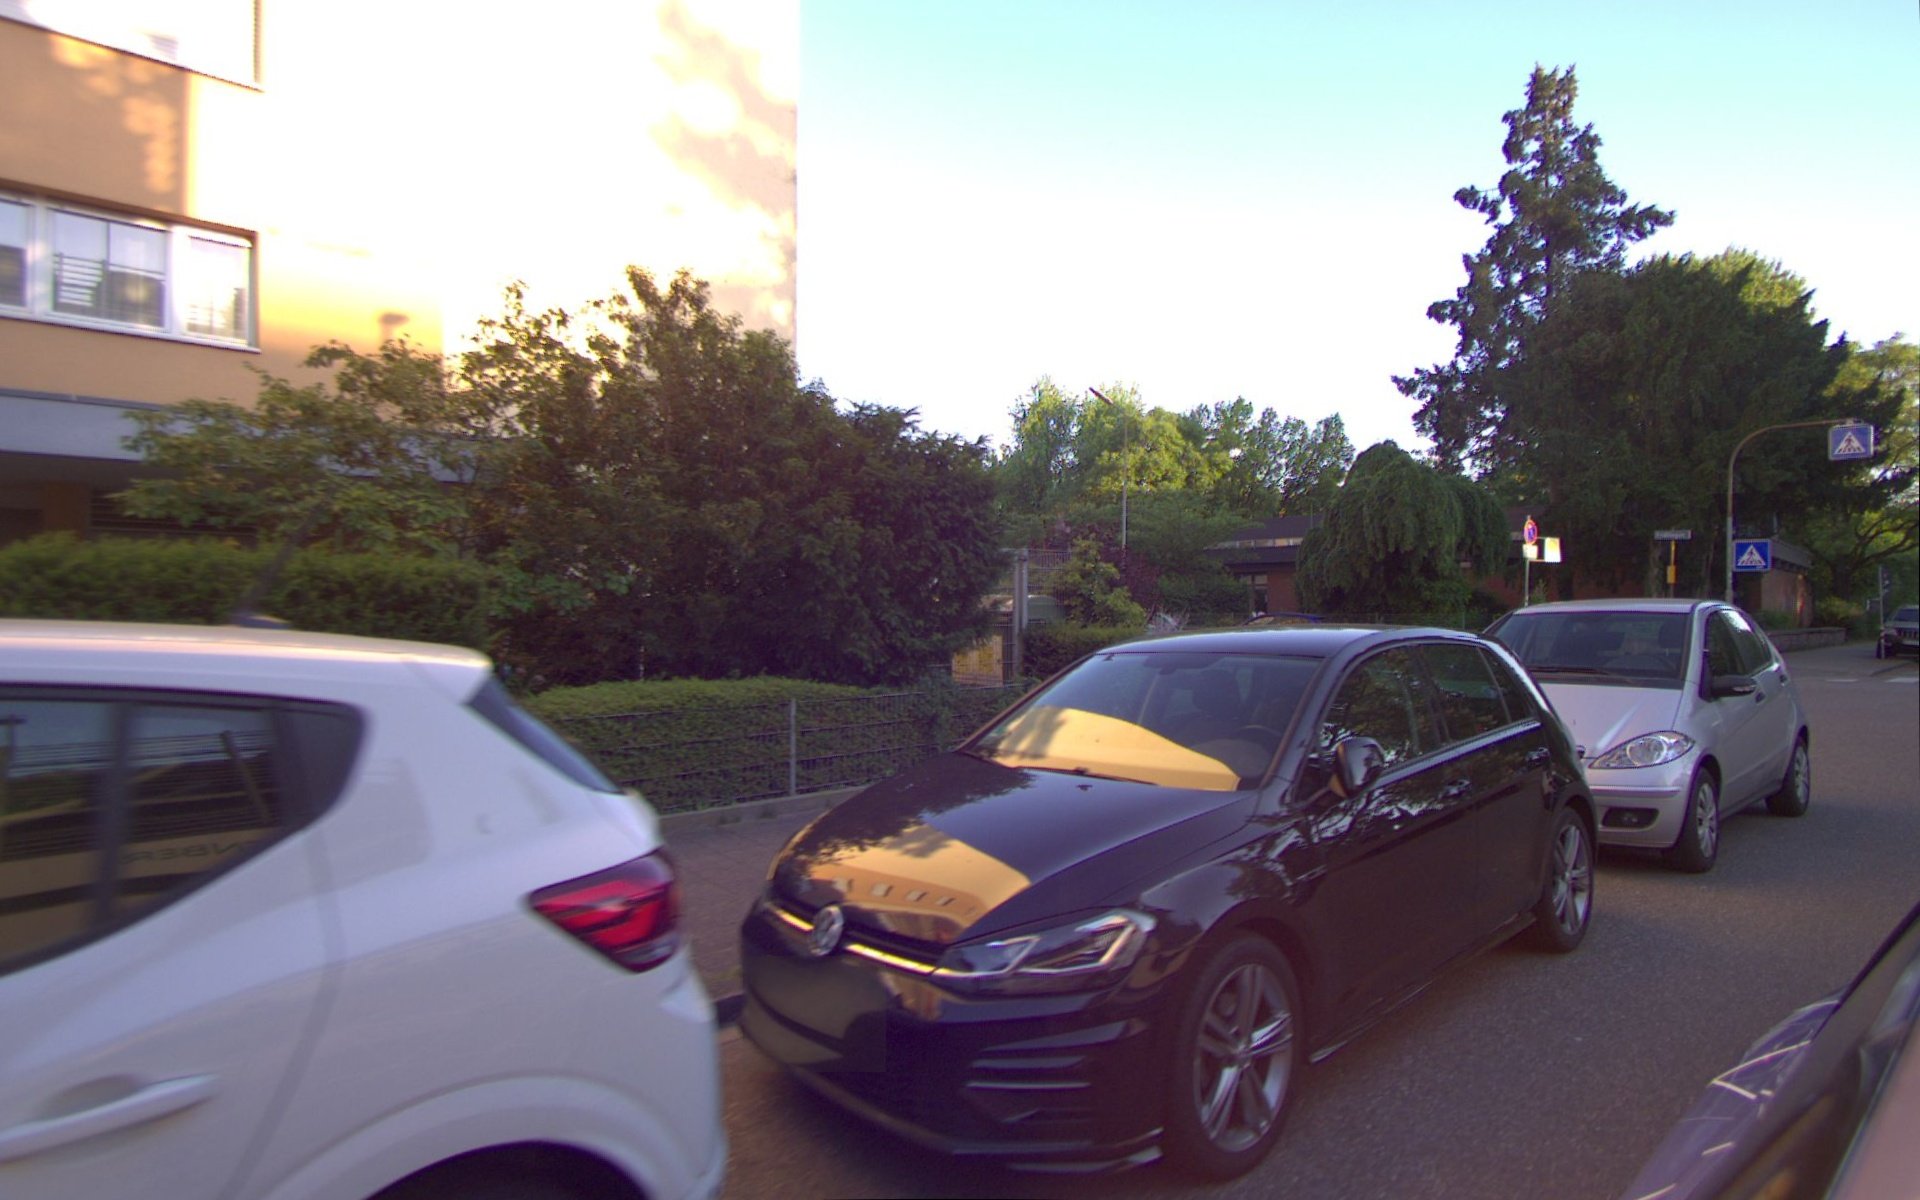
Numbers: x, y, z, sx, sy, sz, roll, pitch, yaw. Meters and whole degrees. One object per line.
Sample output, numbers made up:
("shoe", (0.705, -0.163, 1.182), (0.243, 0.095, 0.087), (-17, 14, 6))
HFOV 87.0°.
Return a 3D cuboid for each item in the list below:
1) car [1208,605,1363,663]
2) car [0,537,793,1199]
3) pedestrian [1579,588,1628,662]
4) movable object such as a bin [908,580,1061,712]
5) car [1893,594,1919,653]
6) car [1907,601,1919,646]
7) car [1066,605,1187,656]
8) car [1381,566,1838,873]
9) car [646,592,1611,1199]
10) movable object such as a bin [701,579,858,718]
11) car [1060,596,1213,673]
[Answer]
("car", (9.000, 0.911, 28.098), (3.773, 1.504, 1.698), (0, -1, 41))
("car", (-2.321, 0.638, 1.178), (3.828, 1.435, 1.812), (1, -1, -41))
("pedestrian", (16.029, 0.595, 25.231), (0.817, 1.746, 0.854), (4, 3, 26))
("movable object such as a bin", (0.314, 0.540, 12.424), (1.123, 1.489, 1.557), (-1, -2, 44))
("car", (30.479, 0.761, 31.565), (3.820, 1.776, 1.783), (1, 1, -44))
("car", (34.640, 0.890, 35.515), (3.820, 1.518, 1.784), (1, 3, -44))
("car", (5.148, 0.917, 31.584), (3.499, 1.504, 1.510), (0, -2, 44))
("car", (4.774, 0.644, 7.230), (3.817, 1.596, 1.812), (1, -1, -42))
("car", (1.000, 0.728, 4.041), (3.958, 1.437, 1.719), (1, -1, -42))
("movable object such as a bin", (-2.015, 0.511, 11.320), (1.183, 1.434, 1.279), (-1, -2, 44))
("car", (3.932, 0.802, 22.177), (1.621, 1.532, 3.513), (-1, -4, 44))
